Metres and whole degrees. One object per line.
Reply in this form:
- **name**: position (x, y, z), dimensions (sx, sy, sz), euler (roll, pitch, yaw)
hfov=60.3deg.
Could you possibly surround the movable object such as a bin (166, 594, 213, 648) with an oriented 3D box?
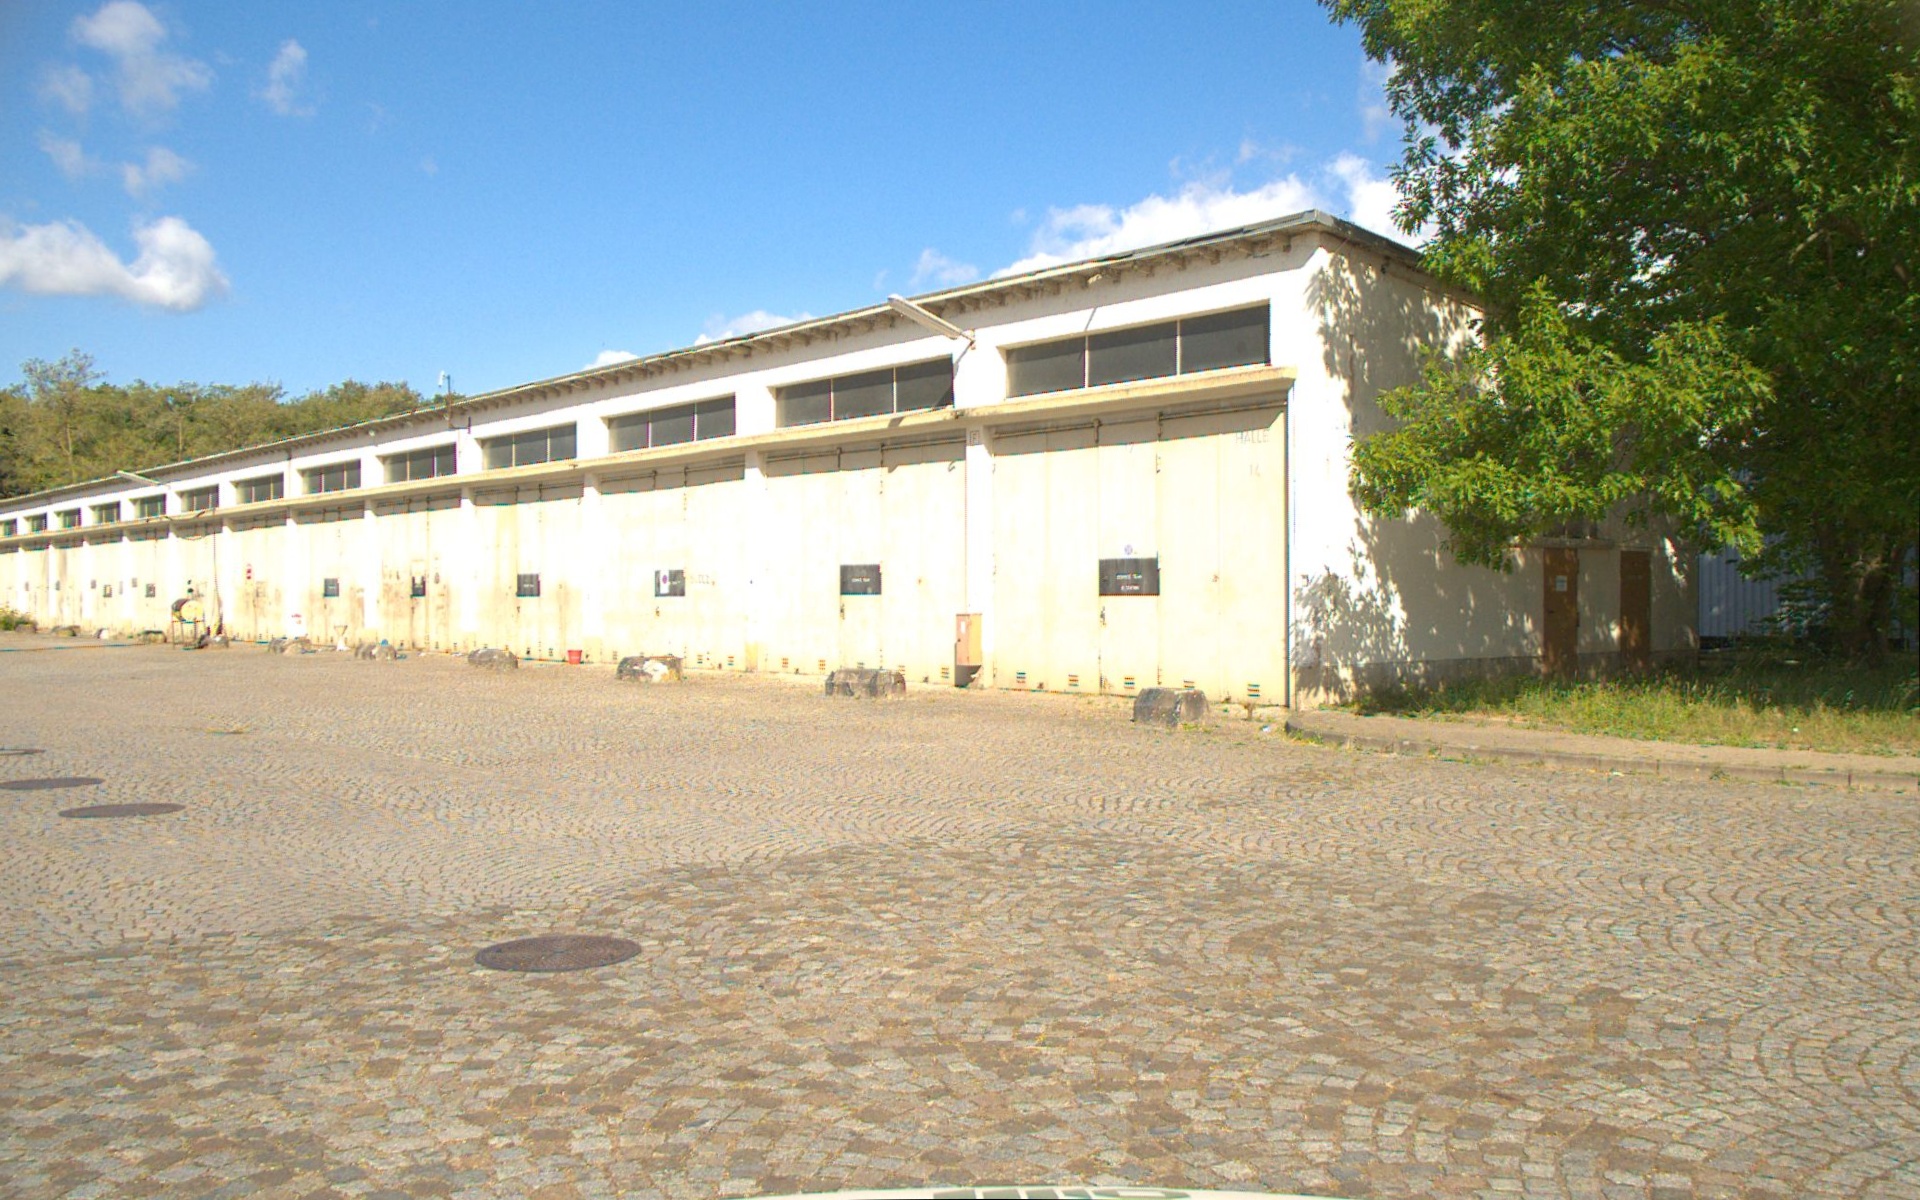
- **movable object such as a bin**: position (-20.856, 0.557, 44.768), dimensions (0.870, 1.426, 1.085), euler (0, 0, -42)
